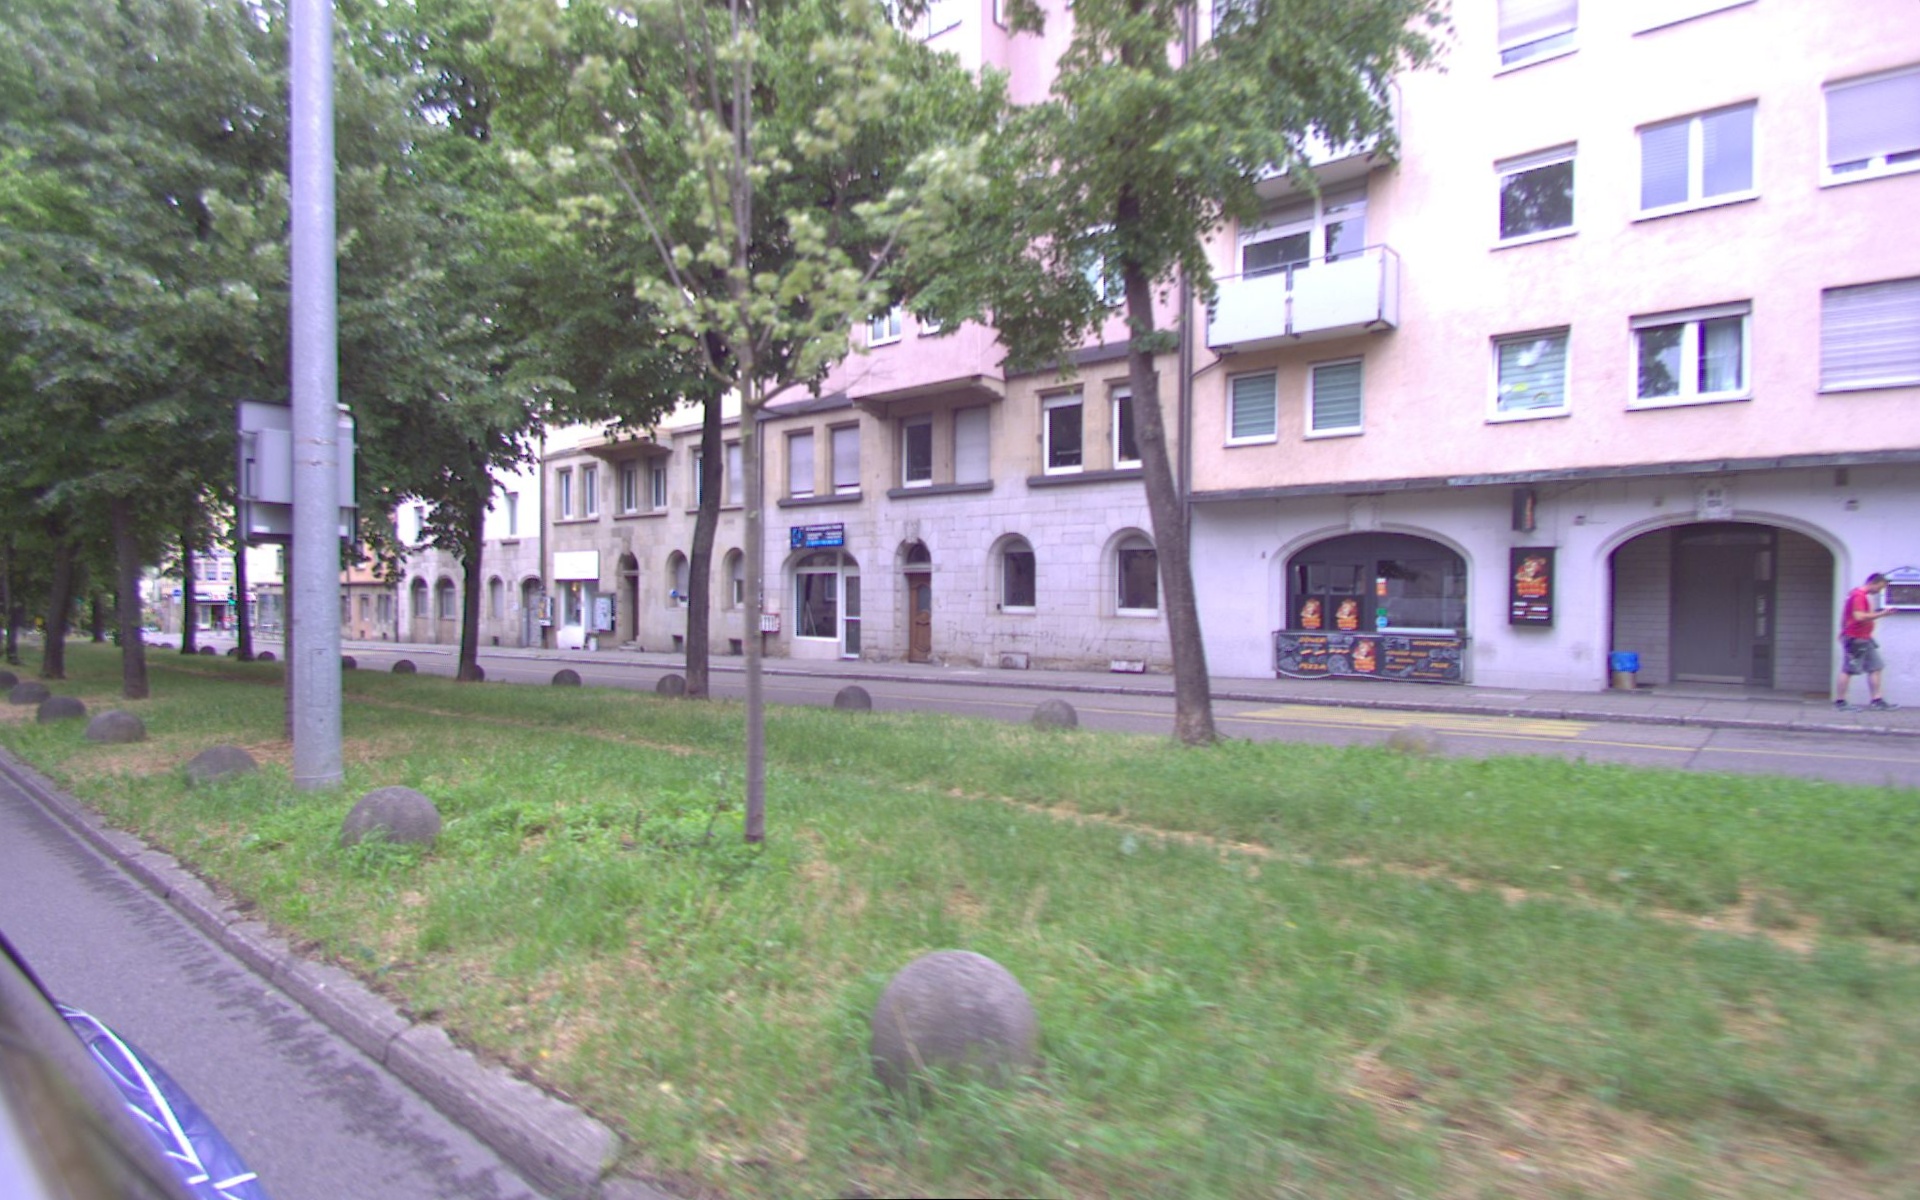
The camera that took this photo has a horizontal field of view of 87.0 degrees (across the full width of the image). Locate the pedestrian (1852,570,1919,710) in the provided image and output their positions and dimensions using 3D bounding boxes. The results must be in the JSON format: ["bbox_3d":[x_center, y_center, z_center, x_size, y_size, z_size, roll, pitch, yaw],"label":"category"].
[{"bbox_3d":[11.446,0.481,12.432,0.700,1.679,0.527,-1,-1,41],"label":"pedestrian"}]

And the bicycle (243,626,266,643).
[{"bbox_3d":[-53.746,2.650,77.134,2.052,1.158,0.676,-4,-1,33],"label":"bicycle"}]

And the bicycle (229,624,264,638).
[{"bbox_3d":[-61.146,2.644,86.781,2.309,1.108,0.777,-2,0,-27],"label":"bicycle"}]

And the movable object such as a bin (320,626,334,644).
[{"bbox_3d":[-34.921,1.928,55.835,0.779,0.934,0.506,-2,0,45],"label":"movable object such as a bin"}]
